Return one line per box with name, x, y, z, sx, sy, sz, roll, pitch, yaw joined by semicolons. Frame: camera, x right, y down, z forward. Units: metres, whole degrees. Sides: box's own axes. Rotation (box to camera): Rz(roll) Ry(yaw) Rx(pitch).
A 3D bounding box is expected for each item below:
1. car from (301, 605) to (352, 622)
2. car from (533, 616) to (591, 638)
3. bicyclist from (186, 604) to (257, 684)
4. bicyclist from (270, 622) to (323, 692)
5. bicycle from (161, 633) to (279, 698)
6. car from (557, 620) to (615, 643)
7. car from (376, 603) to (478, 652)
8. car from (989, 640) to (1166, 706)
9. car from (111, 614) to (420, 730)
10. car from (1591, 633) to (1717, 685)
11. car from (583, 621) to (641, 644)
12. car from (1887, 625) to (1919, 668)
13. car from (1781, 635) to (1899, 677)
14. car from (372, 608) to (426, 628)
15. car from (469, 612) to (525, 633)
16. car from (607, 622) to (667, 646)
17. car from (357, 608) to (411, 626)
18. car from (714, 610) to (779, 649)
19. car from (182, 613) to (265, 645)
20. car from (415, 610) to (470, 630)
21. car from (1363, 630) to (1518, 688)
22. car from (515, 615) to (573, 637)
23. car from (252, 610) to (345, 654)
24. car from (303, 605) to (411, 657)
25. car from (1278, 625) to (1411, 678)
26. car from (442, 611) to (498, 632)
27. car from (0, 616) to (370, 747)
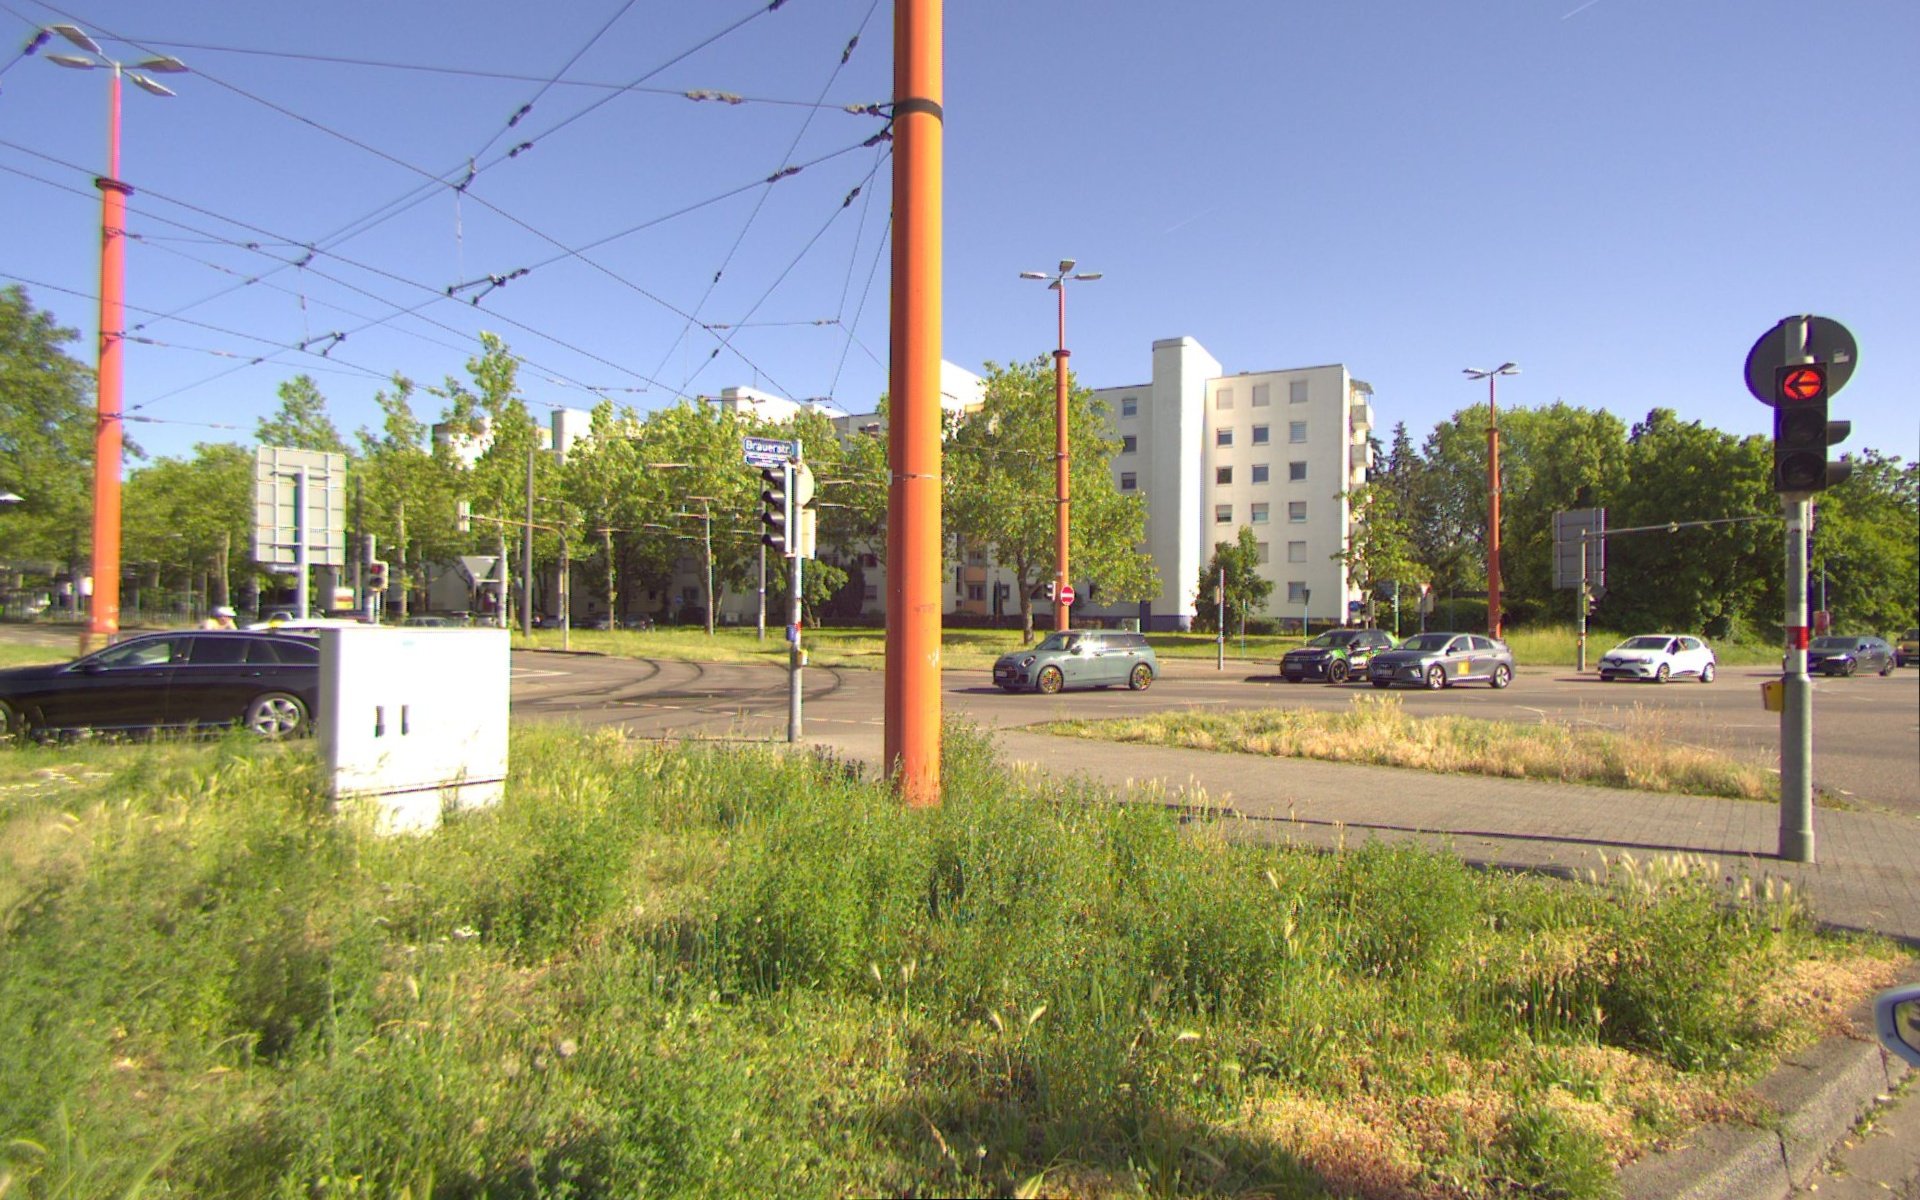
car;-63.539;1.365;100.837;3.934;1.617;1.890;2;0;-15
car;-30.778;2.075;77.768;3.934;1.617;1.890;2;0;-15
bicyclist;-13.898;0.806;18.909;0.742;1.449;0.752;1;0;16
bicyclist;-13.190;1.120;19.981;0.686;1.340;0.548;1;0;21
bicycle;-13.929;1.220;18.903;2.313;1.095;0.474;1;0;17
car;-28.136;2.345;75.681;3.934;1.617;1.890;2;0;-15
car;-23.123;1.161;43.539;4.200;1.926;1.996;1;0;31
car;2.826;1.695;23.856;4.088;1.406;1.424;2;0;-28
car;-11.349;1.152;16.808;4.010;1.730;1.793;2;-2;-29
car;21.239;1.780;30.729;3.901;1.478;1.598;1;-1;-29
car;-25.673;2.401;74.220;3.934;1.617;1.890;2;0;-15
car;47.794;2.303;49.471;4.730;2.013;1.750;2;0;-29
car;31.182;1.947;35.550;4.737;1.386;1.622;1;-1;-29
car;-50.996;1.631;91.394;3.934;1.617;1.890;2;0;-15
car;-38.562;1.911;83.773;3.934;1.617;1.890;2;0;-15
car;-23.184;2.453;72.241;3.934;1.617;1.890;2;0;-15
car;-53.669;1.577;93.674;3.934;1.617;1.890;2;0;-15
car;-13.843;1.896;65.041;3.934;2.341;1.889;2;0;-15
car;-34.724;1.333;47.342;3.930;1.339;1.732;1;0;31
car;-45.131;1.762;87.631;3.934;1.617;1.890;2;0;-15
car;12.565;1.499;26.211;4.211;1.395;1.541;1;-1;-30
car;-32.858;2.031;79.412;3.934;1.617;1.890;2;0;-15
car;-29.283;1.375;44.448;3.929;1.773;1.909;1;0;31
car;-24.289;1.215;40.447;4.200;1.926;1.996;1;0;31
car;11.249;1.494;29.342;3.838;1.452;1.538;2;-3;-29
car;-41.761;1.838;85.655;3.934;1.617;1.890;2;0;-15
car;-10.532;1.021;13.372;4.551;1.505;1.867;2;0;-30
